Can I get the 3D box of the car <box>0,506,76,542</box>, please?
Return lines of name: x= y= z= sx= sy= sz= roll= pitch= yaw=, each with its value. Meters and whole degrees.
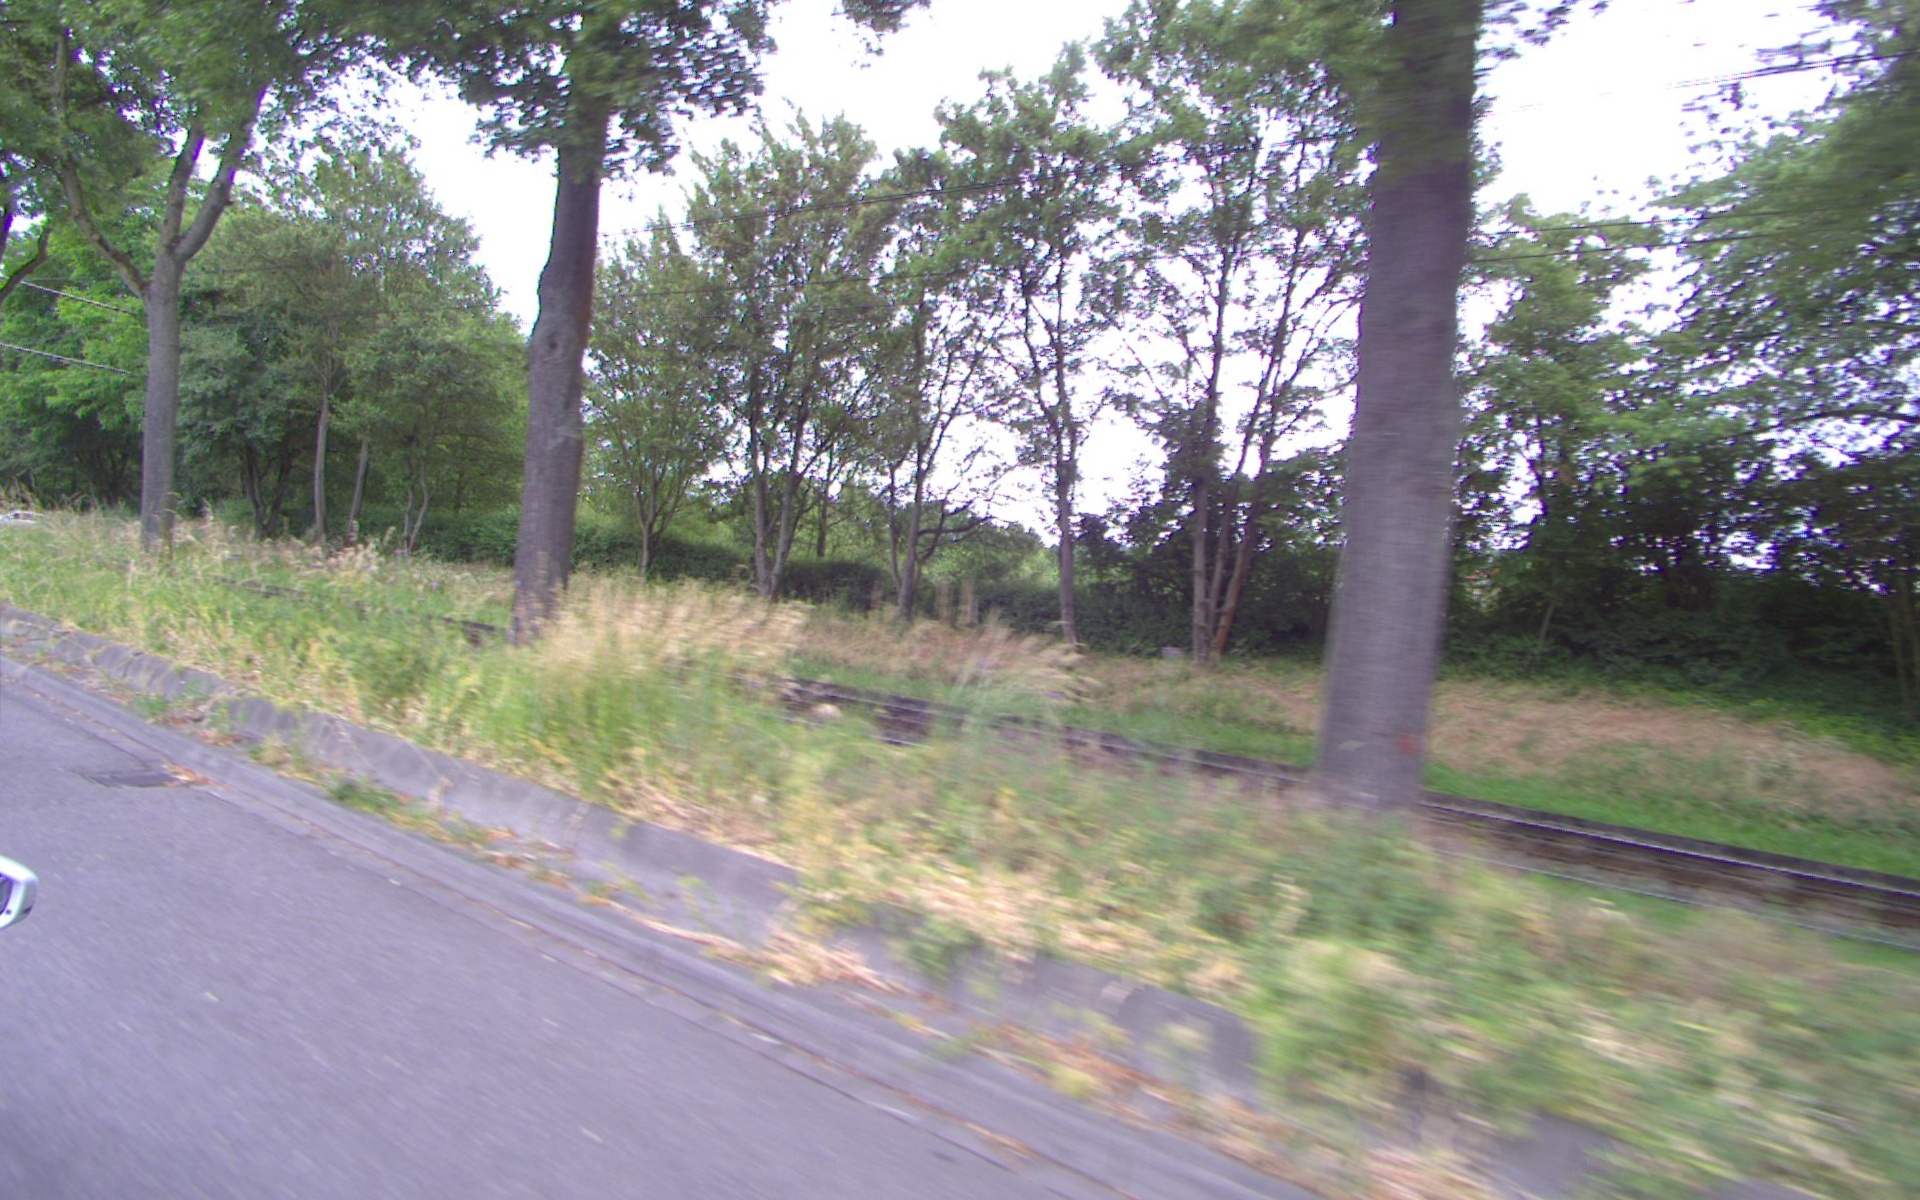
car: x=-53.158 y=-4.410 z=57.031 sx=1.965 sy=1.368 sz=4.004 roll=7 pitch=-5 yaw=27
